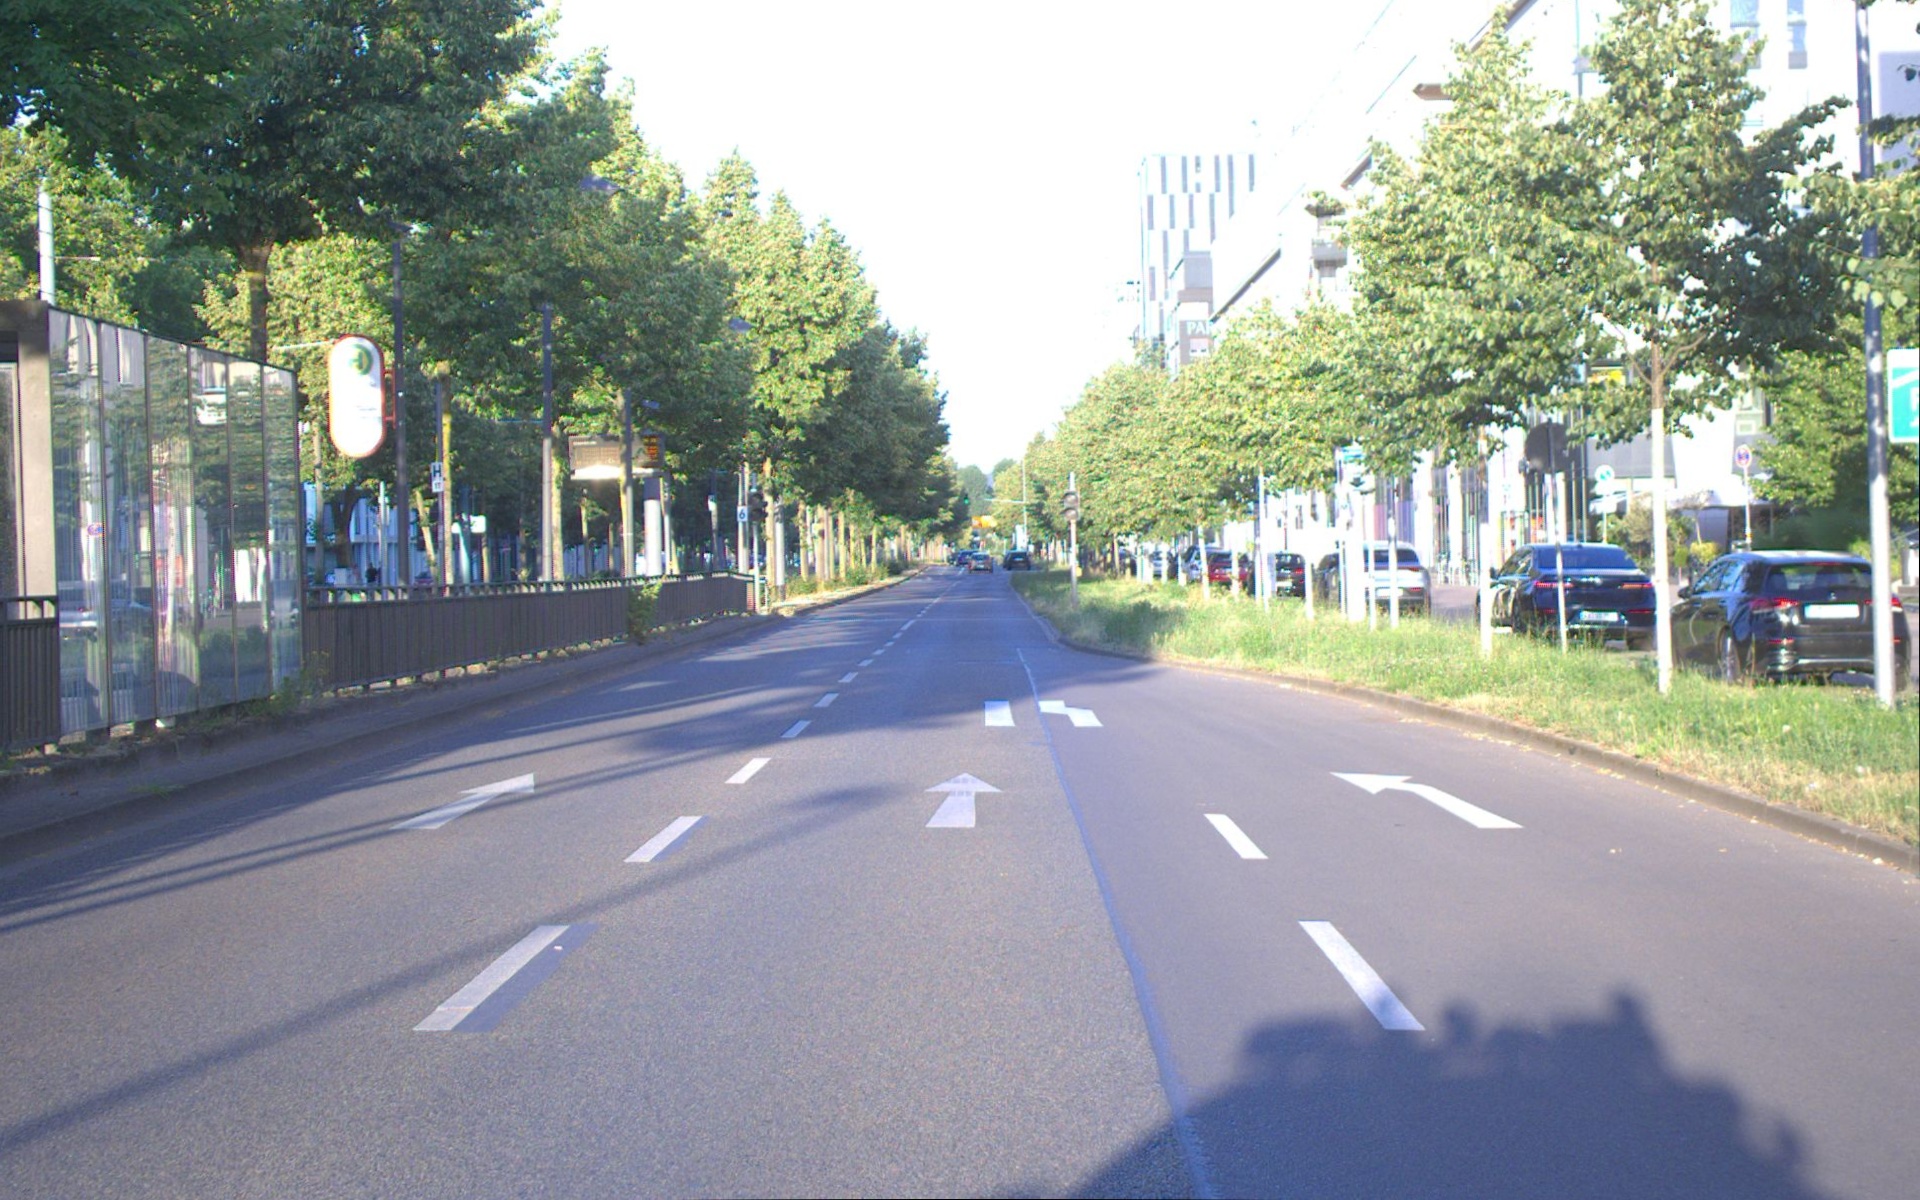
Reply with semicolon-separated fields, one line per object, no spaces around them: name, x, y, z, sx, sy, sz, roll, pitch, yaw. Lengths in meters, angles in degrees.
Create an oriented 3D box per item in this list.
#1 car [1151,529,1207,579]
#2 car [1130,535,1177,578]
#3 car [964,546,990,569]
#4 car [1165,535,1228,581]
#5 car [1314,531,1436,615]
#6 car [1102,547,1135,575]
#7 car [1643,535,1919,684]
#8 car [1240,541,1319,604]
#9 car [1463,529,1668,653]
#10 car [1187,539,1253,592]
car;9.007;-1.888;141.543;1.993;2.007;4.000;-1;1;-1
car;9.382;-2.129;166.699;1.993;2.007;4.000;-1;1;-1
car;1.184;-3.002;243.531;1.695;1.590;4.000;-2;0;-1
car;8.678;-1.544;126.316;1.771;1.630;3.562;-1;1;-4
car;8.744;-0.589;72.805;1.993;1.691;4.415;1;1;-1
car;9.606;-2.341;208.313;1.695;1.590;4.000;-2;0;-1
car;8.515;0.060;35.877;1.825;1.430;4.460;1;1;-1
car;8.873;-0.786;95.793;2.029;1.691;4.397;1;1;3
car;8.723;-0.160;49.888;1.993;1.691;4.594;1;1;-2
car;9.019;-1.202;119.515;1.894;1.765;3.947;-1;1;-1
